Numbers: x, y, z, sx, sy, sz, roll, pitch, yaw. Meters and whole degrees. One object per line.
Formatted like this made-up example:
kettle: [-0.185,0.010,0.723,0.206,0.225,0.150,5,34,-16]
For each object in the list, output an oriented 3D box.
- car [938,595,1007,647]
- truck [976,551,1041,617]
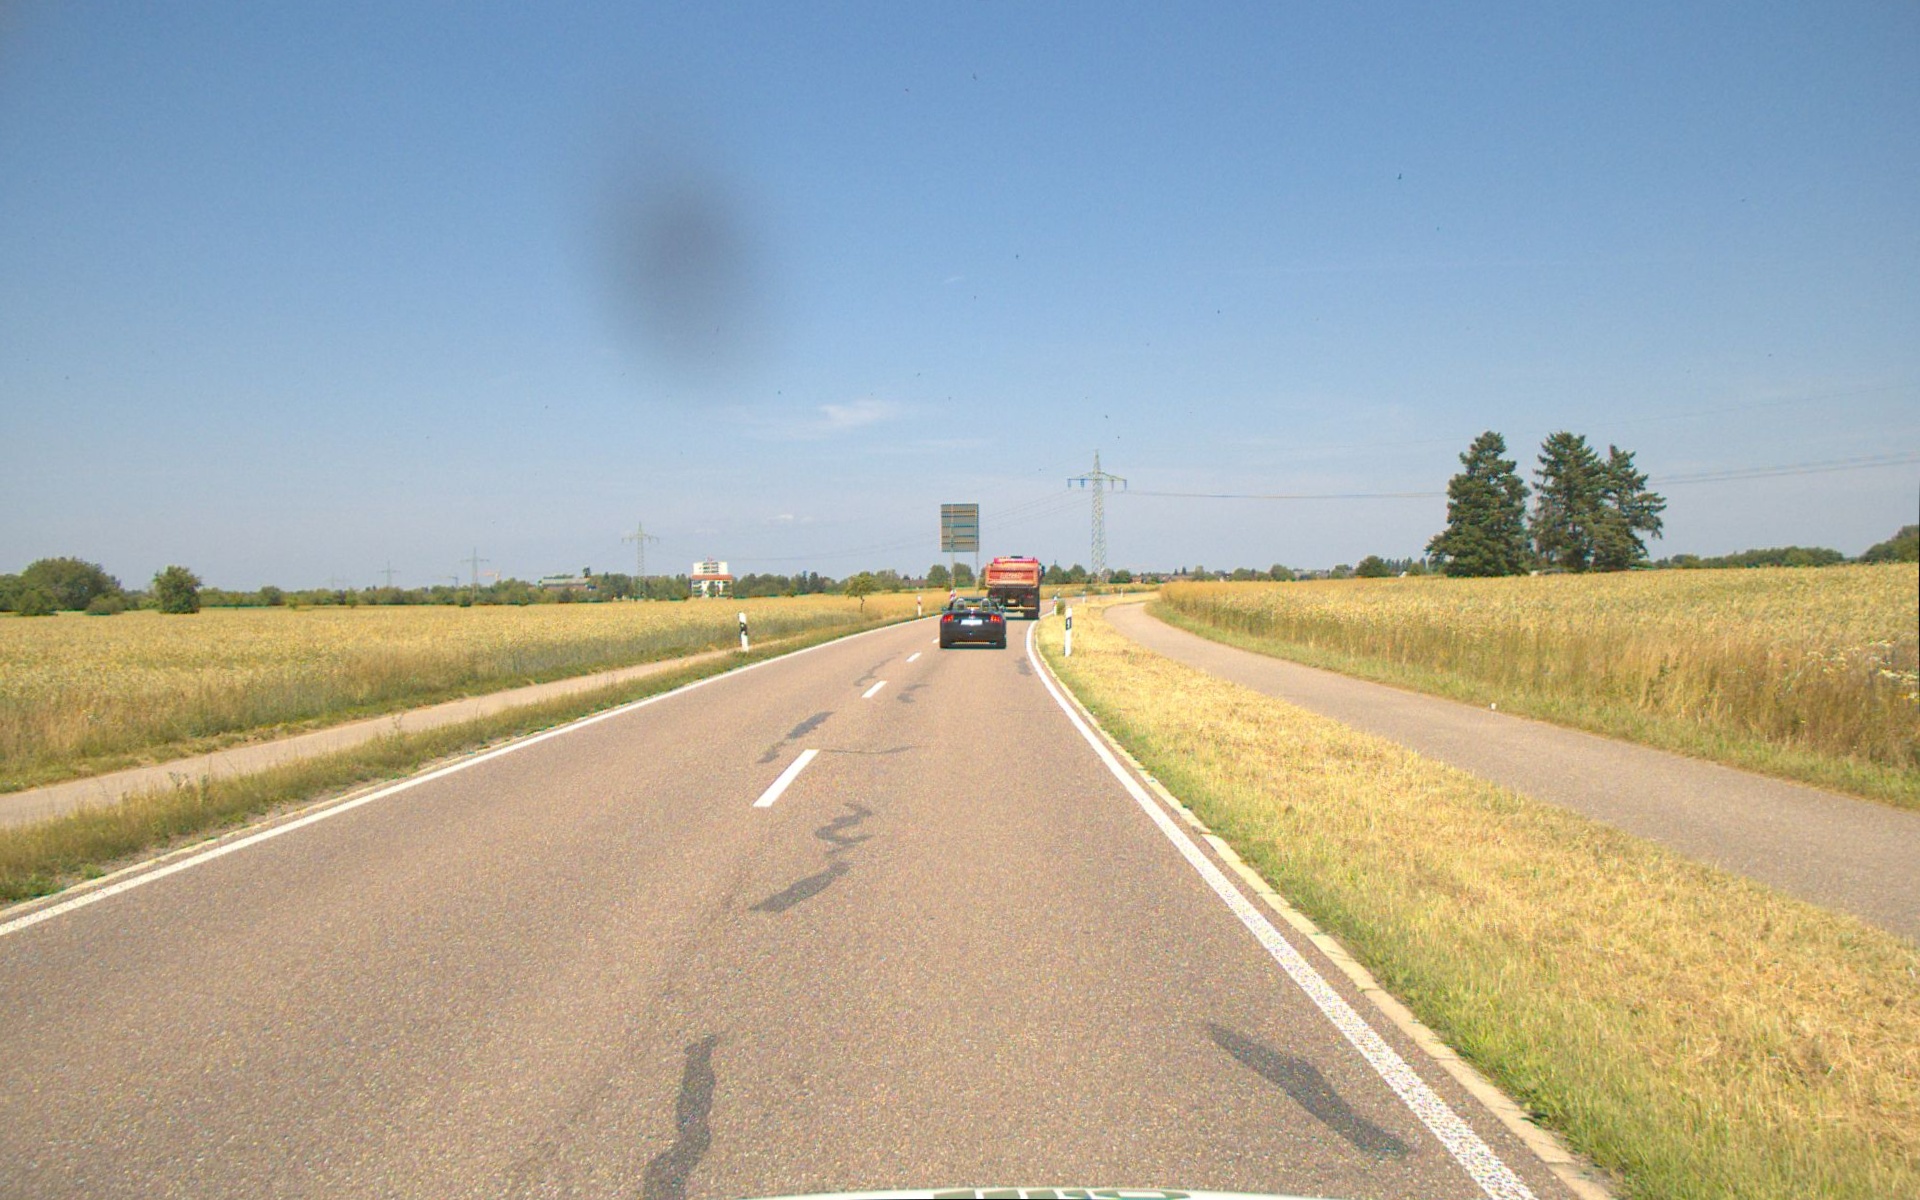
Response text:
car: [0.369,0.543,43.849,1.707,1.302,4.001,0,0,2]
truck: [2.497,-0.742,82.292,2.876,3.143,7.200,0,0,4]
